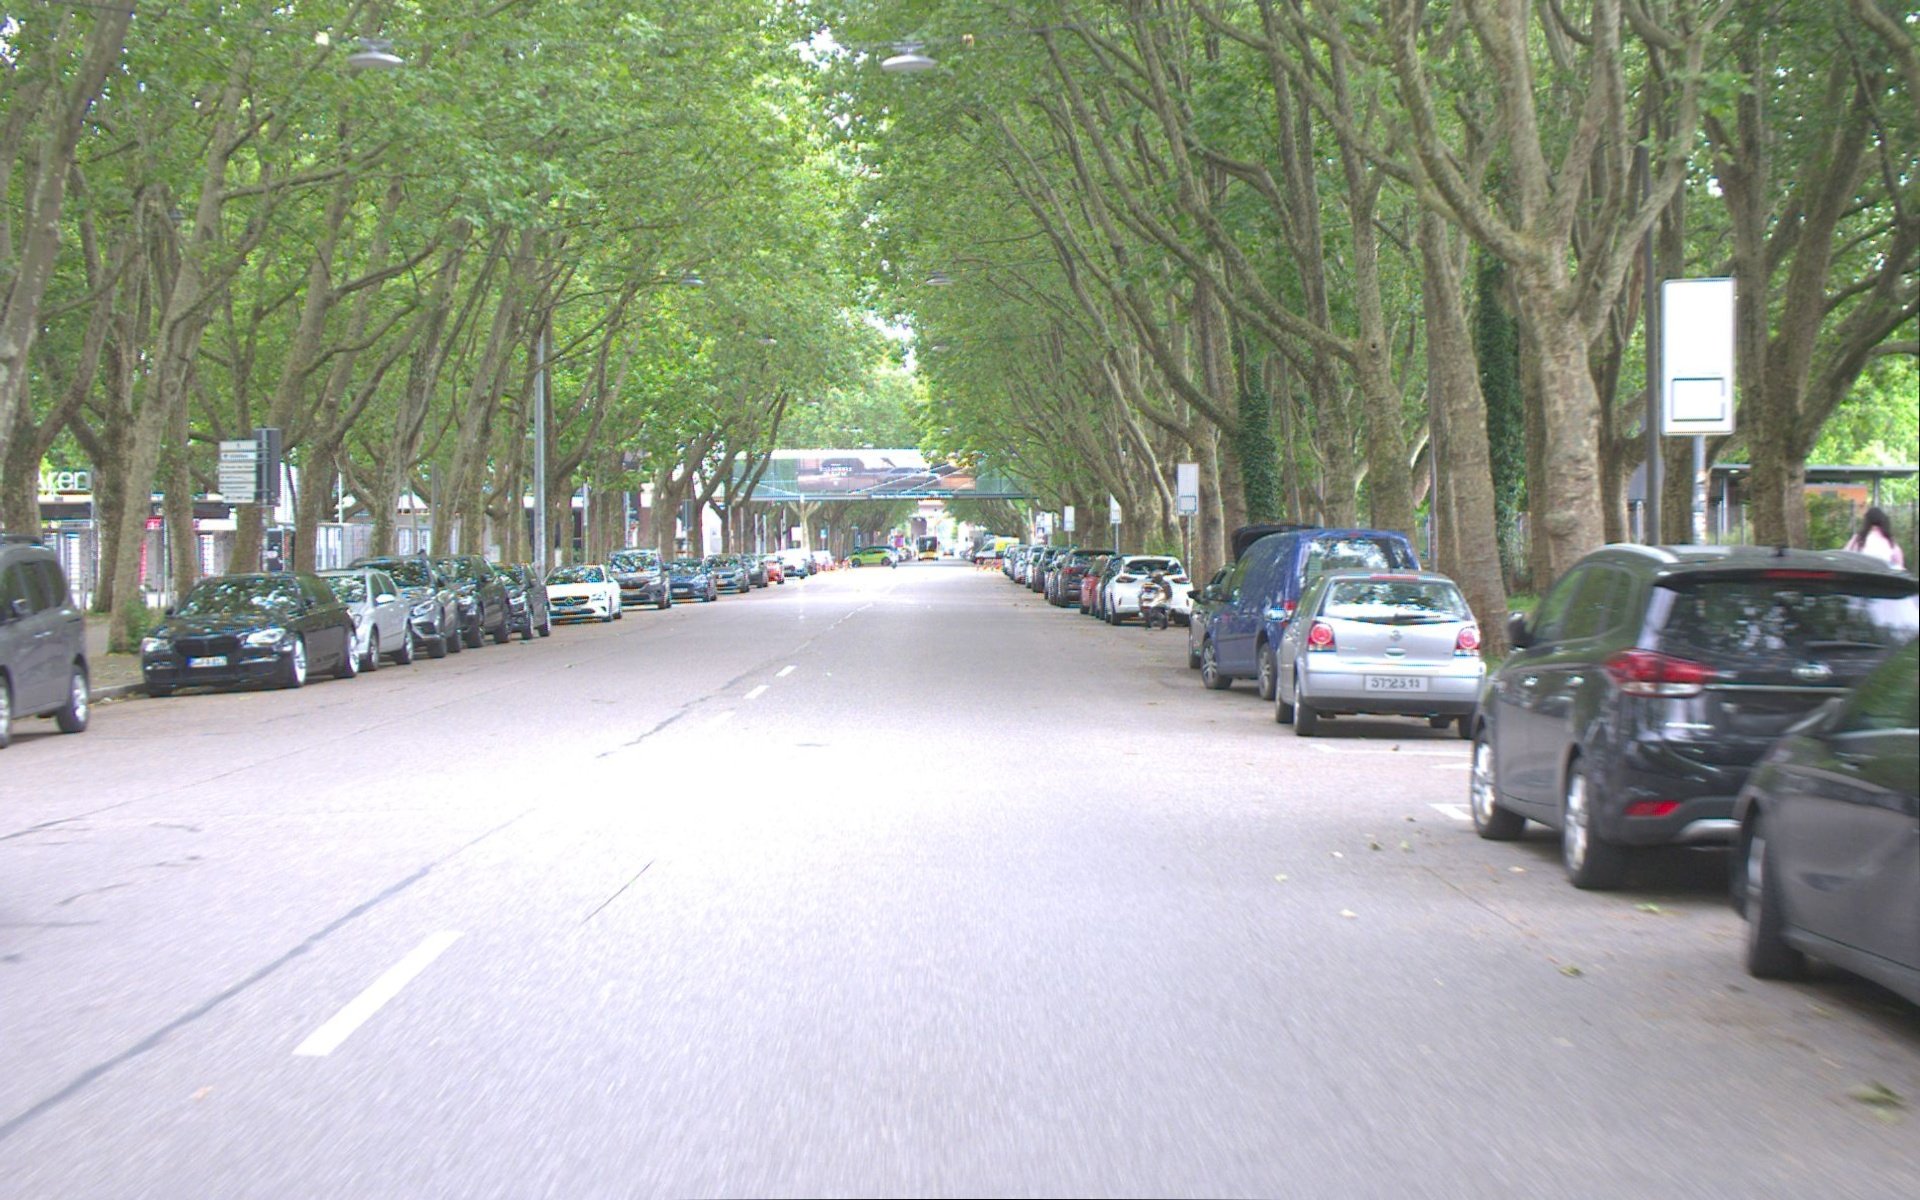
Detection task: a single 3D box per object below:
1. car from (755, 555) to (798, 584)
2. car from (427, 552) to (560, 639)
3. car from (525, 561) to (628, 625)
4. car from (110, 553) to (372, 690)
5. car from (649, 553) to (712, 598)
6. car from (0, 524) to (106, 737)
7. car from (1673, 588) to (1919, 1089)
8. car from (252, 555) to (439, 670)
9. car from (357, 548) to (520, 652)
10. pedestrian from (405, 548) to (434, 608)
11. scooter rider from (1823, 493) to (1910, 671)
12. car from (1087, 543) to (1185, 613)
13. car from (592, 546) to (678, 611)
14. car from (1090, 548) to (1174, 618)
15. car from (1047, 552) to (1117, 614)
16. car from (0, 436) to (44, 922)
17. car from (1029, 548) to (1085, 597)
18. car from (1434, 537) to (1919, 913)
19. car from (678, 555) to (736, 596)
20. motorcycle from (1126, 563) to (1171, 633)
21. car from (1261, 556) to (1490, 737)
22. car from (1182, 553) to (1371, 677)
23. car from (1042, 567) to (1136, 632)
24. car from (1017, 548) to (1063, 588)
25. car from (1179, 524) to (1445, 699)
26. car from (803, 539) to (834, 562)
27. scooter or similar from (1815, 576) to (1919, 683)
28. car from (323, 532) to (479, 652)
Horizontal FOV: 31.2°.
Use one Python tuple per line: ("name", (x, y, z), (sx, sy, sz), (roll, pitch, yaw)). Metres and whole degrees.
("car", (-9.979, -1.660, 187.600), (2.073, 1.557, 4.756), (0, 1, 0))
("car", (-8.914, -0.114, 66.017), (1.833, 1.489, 4.442), (-3, 1, 0))
("car", (-9.278, -0.200, 83.553), (1.904, 1.398, 4.751), (-3, 1, 0))
("car", (-8.996, 0.226, 43.501), (2.084, 1.524, 5.145), (-2, 1, 1))
("car", (-9.330, -0.827, 115.207), (1.724, 1.481, 4.575), (0, 1, 0))
("car", (-9.035, 0.295, 30.143), (1.895, 1.789, 4.613), (-3, 1, -1))
("car", (3.720, 0.728, 11.415), (1.776, 1.413, 4.287), (2, 1, 0))
("car", (-8.727, 0.140, 49.176), (1.833, 1.451, 4.230), (-3, 1, 0))
("car", (-9.114, -0.036, 60.462), (1.937, 1.637, 4.928), (-3, 1, 1))
("pedestrian", (-15.826, -0.647, 100.717), (0.577, 1.764, 0.767), (0, 1, 15))
("scooter rider", (9.356, -0.188, 35.501), (0.676, 1.794, 0.587), (-2, 1, 0))
("car", (3.680, -0.480, 72.307), (1.735, 1.433, 4.123), (0, 1, -2))
("car", (-9.126, -0.617, 96.826), (1.949, 1.744, 4.638), (-2, 1, -1))
("car", (3.878, -0.397, 78.085), (1.730, 1.465, 4.080), (2, 1, 1))
("car", (3.319, -0.486, 94.241), (1.755, 1.614, 4.439), (2, 1, 0))
("car", (-4.907, 0.377, 11.720), (2.059, 1.954, 5.466), (-1, 1, 0))
("car", (3.477, -1.016, 123.997), (1.707, 1.692, 4.631), (1, 1, -1))
("car", (3.673, 0.514, 17.294), (1.829, 1.597, 4.467), (2, 1, -1))
("car", (-9.767, -0.974, 133.107), (1.878, 1.521, 4.151), (-1, 1, 0))
("motorcycle", (3.683, -0.047, 67.108), (0.712, 1.327, 1.992), (0, 1, 8))
("car", (3.678, 0.367, 30.990), (1.619, 1.456, 3.946), (2, 1, 1))
("car", (4.019, 0.158, 44.287), (1.993, 1.473, 4.371), (1, 1, 0))
("car", (3.040, -0.042, 81.949), (1.716, 1.433, 4.630), (2, 1, -4))
("car", (3.505, -1.402, 150.536), (1.903, 1.733, 4.506), (0, 1, 0))
("car", (3.840, 0.075, 38.328), (1.841, 1.777, 4.448), (2, 1, -9))
("car", (-9.874, -3.475, 240.025), (1.993, 1.596, 4.001), (0, 1, -5))
("scooter or similar", (9.370, 0.297, 35.495), (0.680, 1.034, 1.467), (-3, 1, 0))
("car", (-8.826, -0.156, 54.586), (1.869, 1.712, 4.649), (-3, 1, -3))
